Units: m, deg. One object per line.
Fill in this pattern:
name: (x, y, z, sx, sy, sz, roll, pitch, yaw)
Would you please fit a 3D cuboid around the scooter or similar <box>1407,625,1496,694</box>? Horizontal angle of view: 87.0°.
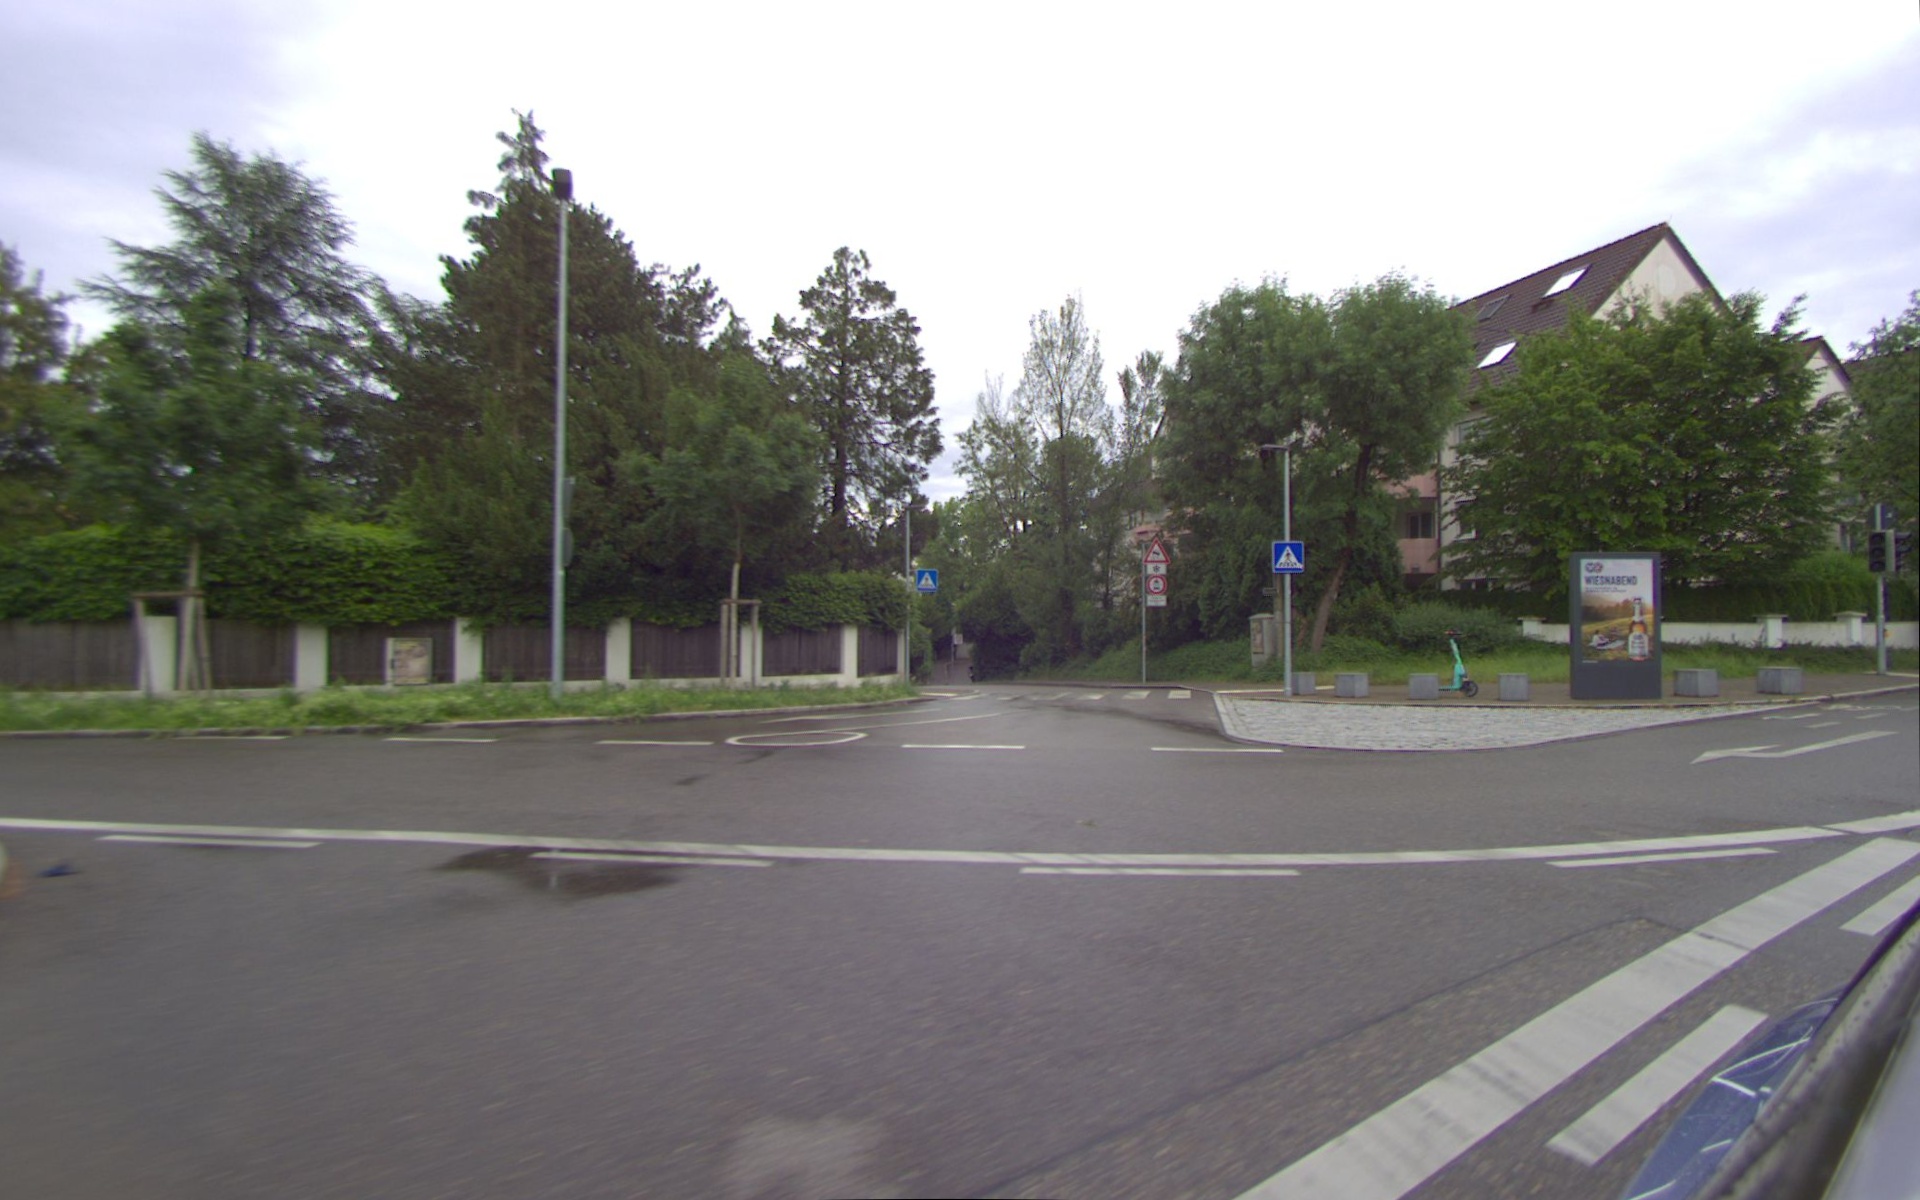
scooter or similar: (9.085, 1.100, 18.749, 0.514, 1.223, 1.353, 0, -3, -31)
